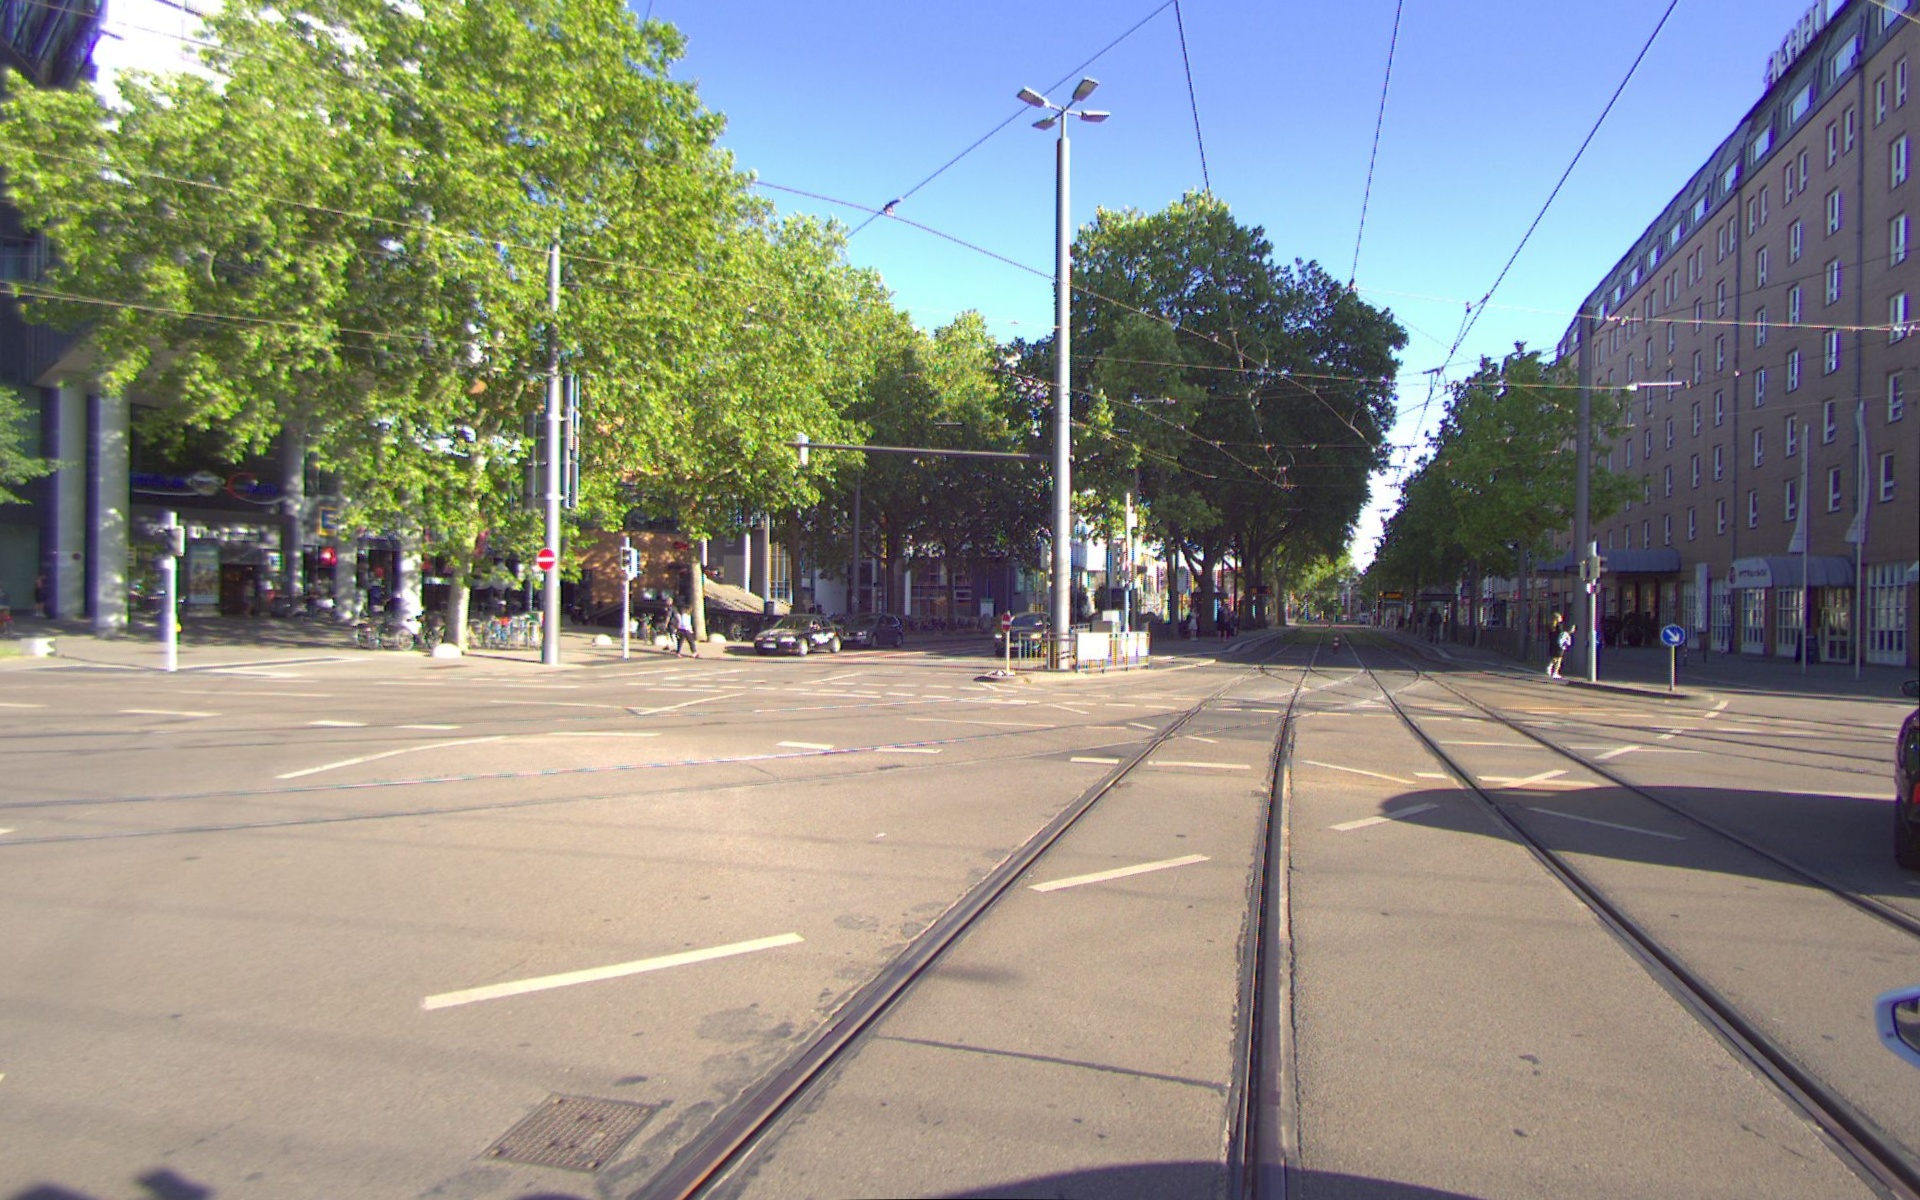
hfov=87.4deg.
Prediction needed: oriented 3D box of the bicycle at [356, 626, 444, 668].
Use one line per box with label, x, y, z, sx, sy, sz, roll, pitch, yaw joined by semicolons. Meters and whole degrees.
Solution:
bicycle;-16.184;1.339;29.091;0.587;1.143;2.366;0;-1;23

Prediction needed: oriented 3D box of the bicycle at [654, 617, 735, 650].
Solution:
bicycle;-11.668;1.468;44.182;3.294;1.371;1.036;1;-1;7

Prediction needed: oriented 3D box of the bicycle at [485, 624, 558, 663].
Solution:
bicycle;-13.681;1.336;31.440;0.587;1.143;2.366;0;-1;22

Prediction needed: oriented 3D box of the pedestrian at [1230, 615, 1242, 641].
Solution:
pedestrian;16.924;1.716;61.610;0.555;1.594;0.637;1;1;32

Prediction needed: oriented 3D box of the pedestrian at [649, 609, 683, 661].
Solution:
pedestrian;-9.715;1.154;33.203;0.815;1.702;0.716;-1;-1;23

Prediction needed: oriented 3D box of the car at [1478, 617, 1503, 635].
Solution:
car;50.020;2.448;94.727;1.644;1.674;3.690;1;0;21

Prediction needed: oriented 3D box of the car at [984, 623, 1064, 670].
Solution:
car;2.236;1.536;34.001;1.639;1.433;4.000;1;-1;20

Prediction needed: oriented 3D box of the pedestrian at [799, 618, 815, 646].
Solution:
pedestrian;-9.172;1.923;60.141;0.685;1.674;0.706;1;0;21

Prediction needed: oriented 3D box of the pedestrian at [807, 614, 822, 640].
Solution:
pedestrian;-9.316;1.713;64.498;0.685;1.674;0.706;1;-1;20

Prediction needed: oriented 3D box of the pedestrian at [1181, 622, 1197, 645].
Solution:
pedestrian;12.220;1.790;53.682;0.583;1.179;0.742;1;0;36

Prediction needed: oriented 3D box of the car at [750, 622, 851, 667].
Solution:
car;-5.501;1.527;35.126;1.639;1.425;3.999;1;-1;22

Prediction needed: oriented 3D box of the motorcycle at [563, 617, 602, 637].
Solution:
motorcycle;-21.342;1.529;56.797;2.302;1.072;0.830;0;-1;32

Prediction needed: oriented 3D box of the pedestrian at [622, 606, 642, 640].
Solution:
pedestrian;-17.190;1.202;52.573;0.687;1.791;0.704;1;0;33

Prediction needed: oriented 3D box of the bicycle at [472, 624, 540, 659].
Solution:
bicycle;-15.396;1.387;34.149;0.587;1.143;2.366;0;-1;22

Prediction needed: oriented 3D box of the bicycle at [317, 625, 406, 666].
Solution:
bicycle;-17.560;1.317;29.563;0.587;1.143;2.366;0;-1;23

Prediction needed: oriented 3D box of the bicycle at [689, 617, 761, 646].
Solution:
bicycle;-11.523;1.552;49.297;3.294;1.371;1.036;1;-1;7

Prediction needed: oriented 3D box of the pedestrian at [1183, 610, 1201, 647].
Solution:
pedestrian;11.577;1.427;50.084;0.583;1.824;0.742;1;0;36

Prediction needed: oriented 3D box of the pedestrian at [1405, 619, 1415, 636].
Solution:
pedestrian;38.846;2.345;86.756;0.710;1.464;0.627;1;0;17

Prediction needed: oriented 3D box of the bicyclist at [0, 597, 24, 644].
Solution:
bicyclist;-30.550;0.646;32.075;0.739;1.480;0.694;0;-1;22

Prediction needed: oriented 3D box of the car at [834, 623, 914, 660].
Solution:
car;-3.484;1.687;41.424;1.639;1.425;3.999;1;-1;22

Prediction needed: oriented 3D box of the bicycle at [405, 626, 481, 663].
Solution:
bicycle;-16.574;1.402;32.268;0.587;1.143;2.366;0;-1;22

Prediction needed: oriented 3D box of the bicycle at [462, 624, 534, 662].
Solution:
bicycle;-14.738;1.350;32.119;0.587;1.143;2.366;0;-1;22

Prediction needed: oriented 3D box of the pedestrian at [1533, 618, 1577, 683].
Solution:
pedestrian;15.789;1.330;26.676;0.814;1.702;0.717;-1;-1;14

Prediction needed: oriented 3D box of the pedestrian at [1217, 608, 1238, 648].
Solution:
pedestrian;12.520;1.313;46.997;0.738;1.853;0.586;1;0;-38

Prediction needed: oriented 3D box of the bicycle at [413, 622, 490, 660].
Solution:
bicycle;-16.056;1.273;31.803;0.587;1.143;2.366;0;-1;22

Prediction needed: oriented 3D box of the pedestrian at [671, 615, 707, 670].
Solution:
pedestrian;-8.534;1.330;31.659;0.816;1.702;0.715;-1;-1;30

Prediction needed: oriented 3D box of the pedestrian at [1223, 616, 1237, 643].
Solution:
pedestrian;15.884;1.737;59.115;0.663;1.594;0.482;0;1;-27

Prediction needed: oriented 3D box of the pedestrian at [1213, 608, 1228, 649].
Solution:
pedestrian;12.010;1.296;46.350;0.623;1.853;0.745;1;0;16

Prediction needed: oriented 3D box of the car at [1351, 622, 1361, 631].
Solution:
car;72.137;4.853;182.917;1.587;1.522;3.690;1;0;19

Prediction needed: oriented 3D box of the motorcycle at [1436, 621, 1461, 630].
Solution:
motorcycle;61.621;3.189;126.674;1.285;1.072;3.093;1;0;-9

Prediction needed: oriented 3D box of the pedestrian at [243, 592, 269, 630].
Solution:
pedestrian;-31.707;0.481;45.216;0.693;1.674;0.698;1;0;27

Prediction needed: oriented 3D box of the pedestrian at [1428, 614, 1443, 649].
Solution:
pedestrian;23.413;1.554;49.508;0.594;1.702;0.486;-1;-1;20

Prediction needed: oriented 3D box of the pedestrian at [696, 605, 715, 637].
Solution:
pedestrian;-13.761;1.136;54.322;0.685;1.674;0.706;1;0;20

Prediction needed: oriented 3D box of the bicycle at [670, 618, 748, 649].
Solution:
bicycle;-11.527;1.543;46.207;3.294;1.371;1.036;1;-1;7

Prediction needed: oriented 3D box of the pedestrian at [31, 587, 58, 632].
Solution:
pedestrian;-35.914;0.385;39.413;0.689;1.728;0.729;0;-1;45

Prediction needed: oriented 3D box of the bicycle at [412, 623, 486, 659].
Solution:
bicycle;-16.839;1.340;33.184;0.587;1.143;2.366;0;-1;22

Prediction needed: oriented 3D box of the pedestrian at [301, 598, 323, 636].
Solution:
pedestrian;-28.758;0.747;44.555;0.696;1.674;0.694;1;0;-24

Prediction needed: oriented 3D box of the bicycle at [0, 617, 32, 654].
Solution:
bicycle;-30.601;1.129;32.085;1.815;1.152;0.694;0;-1;23

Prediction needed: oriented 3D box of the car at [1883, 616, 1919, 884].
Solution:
car;7.266;0.991;6.450;3.665;1.521;1.657;6;-5;-42

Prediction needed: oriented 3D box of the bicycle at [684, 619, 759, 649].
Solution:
bicycle;-11.322;1.600;47.714;3.294;1.371;1.036;1;-1;7

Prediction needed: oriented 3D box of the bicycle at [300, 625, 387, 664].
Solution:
bicycle;-18.751;1.333;30.612;0.587;1.143;2.366;0;-1;23

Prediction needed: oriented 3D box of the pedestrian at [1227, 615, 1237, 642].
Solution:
pedestrian;16.536;1.723;61.115;0.493;1.594;0.494;1;1;24
